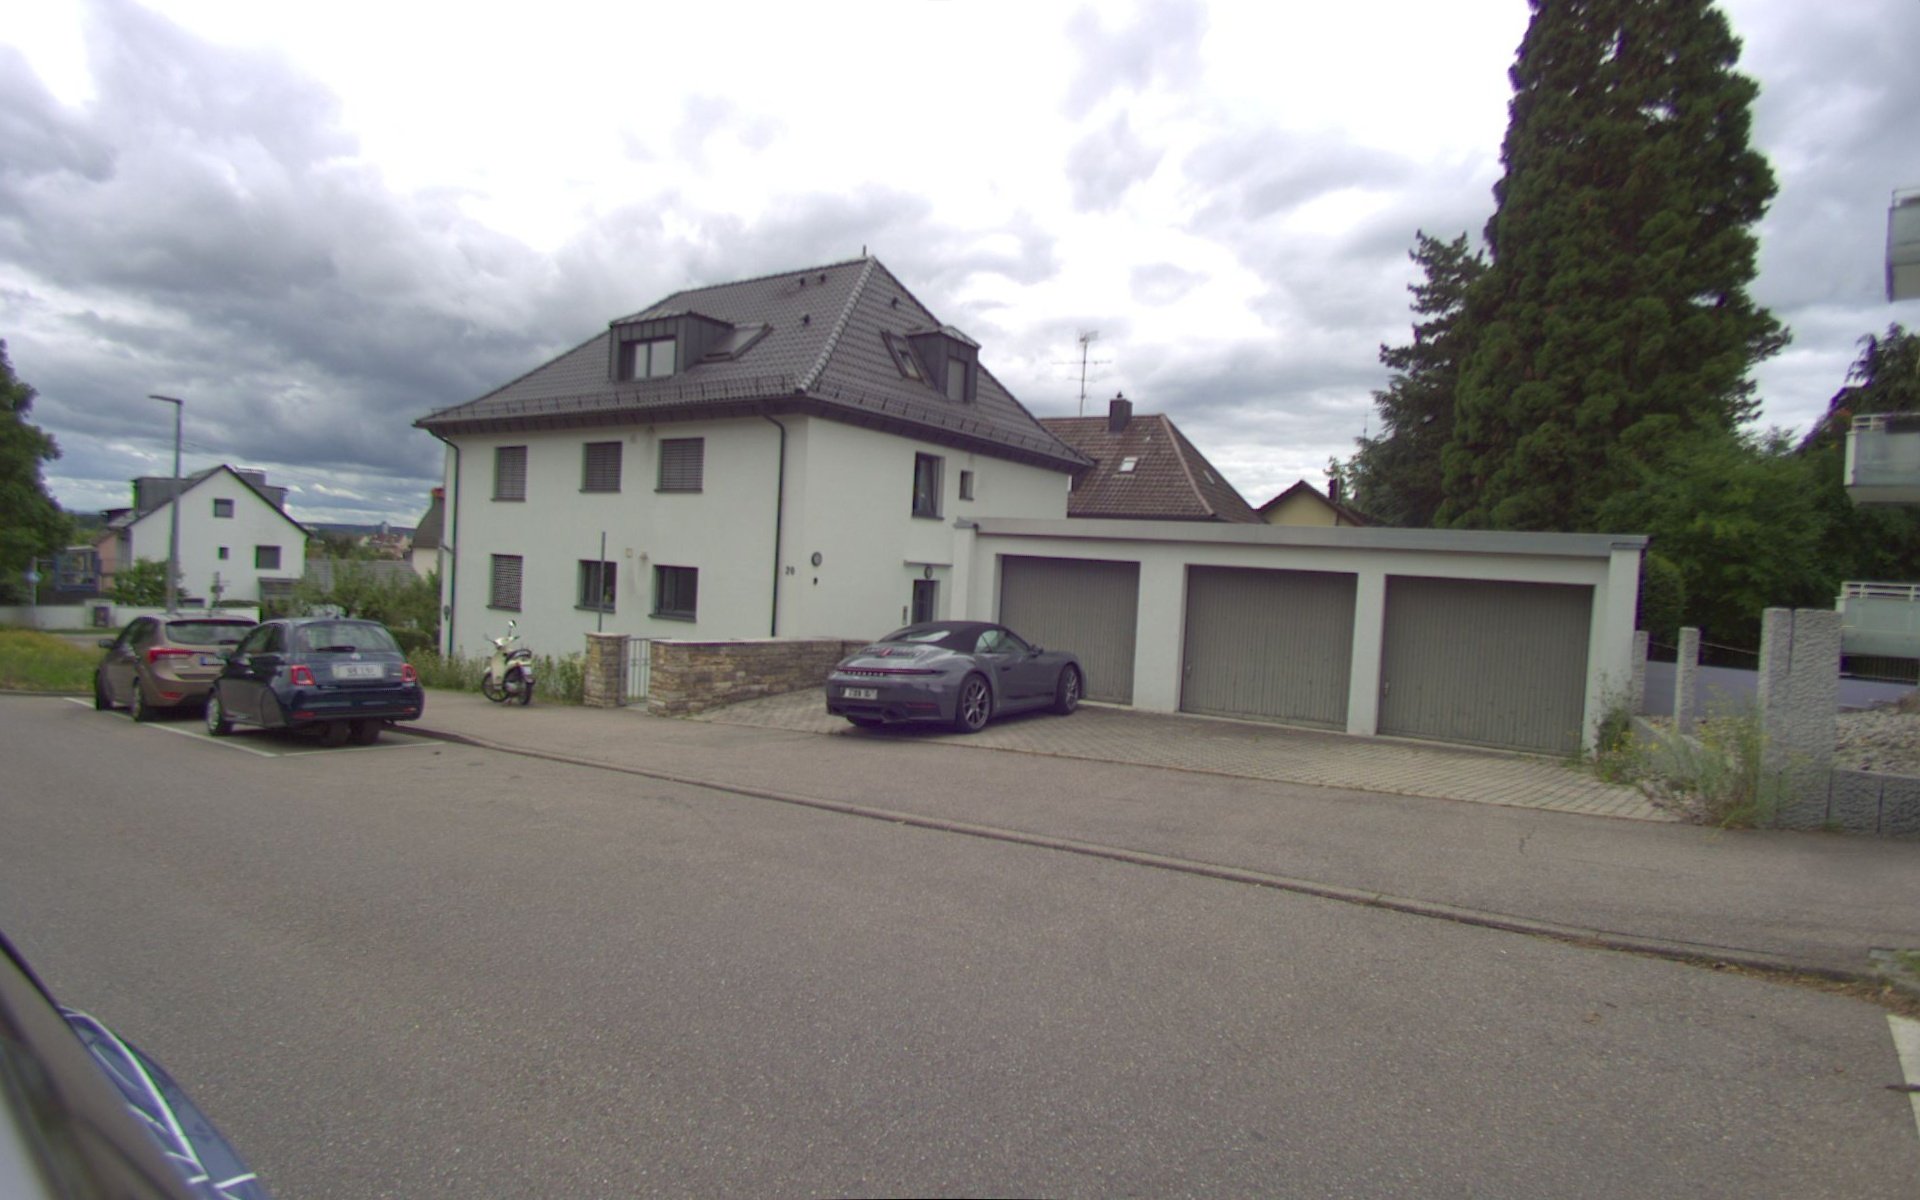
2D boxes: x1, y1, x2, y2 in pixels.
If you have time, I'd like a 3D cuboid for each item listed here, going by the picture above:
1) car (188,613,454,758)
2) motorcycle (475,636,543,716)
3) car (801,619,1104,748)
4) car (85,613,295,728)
[{"bbox_3d":[-8.100,0.949,12.749,3.505,1.548,1.858,-1,-1,40],"label":"car"},{"bbox_3d":[-7.338,1.203,16.425,0.424,1.169,1.865,3,-1,-42],"label":"motorcycle"},{"bbox_3d":[0.079,0.941,13.188,1.899,1.378,4.250,-1,-1,34],"label":"car"},{"bbox_3d":[-12.290,1.017,16.086,3.869,1.597,1.858,-1,-1,40],"label":"car"}]
